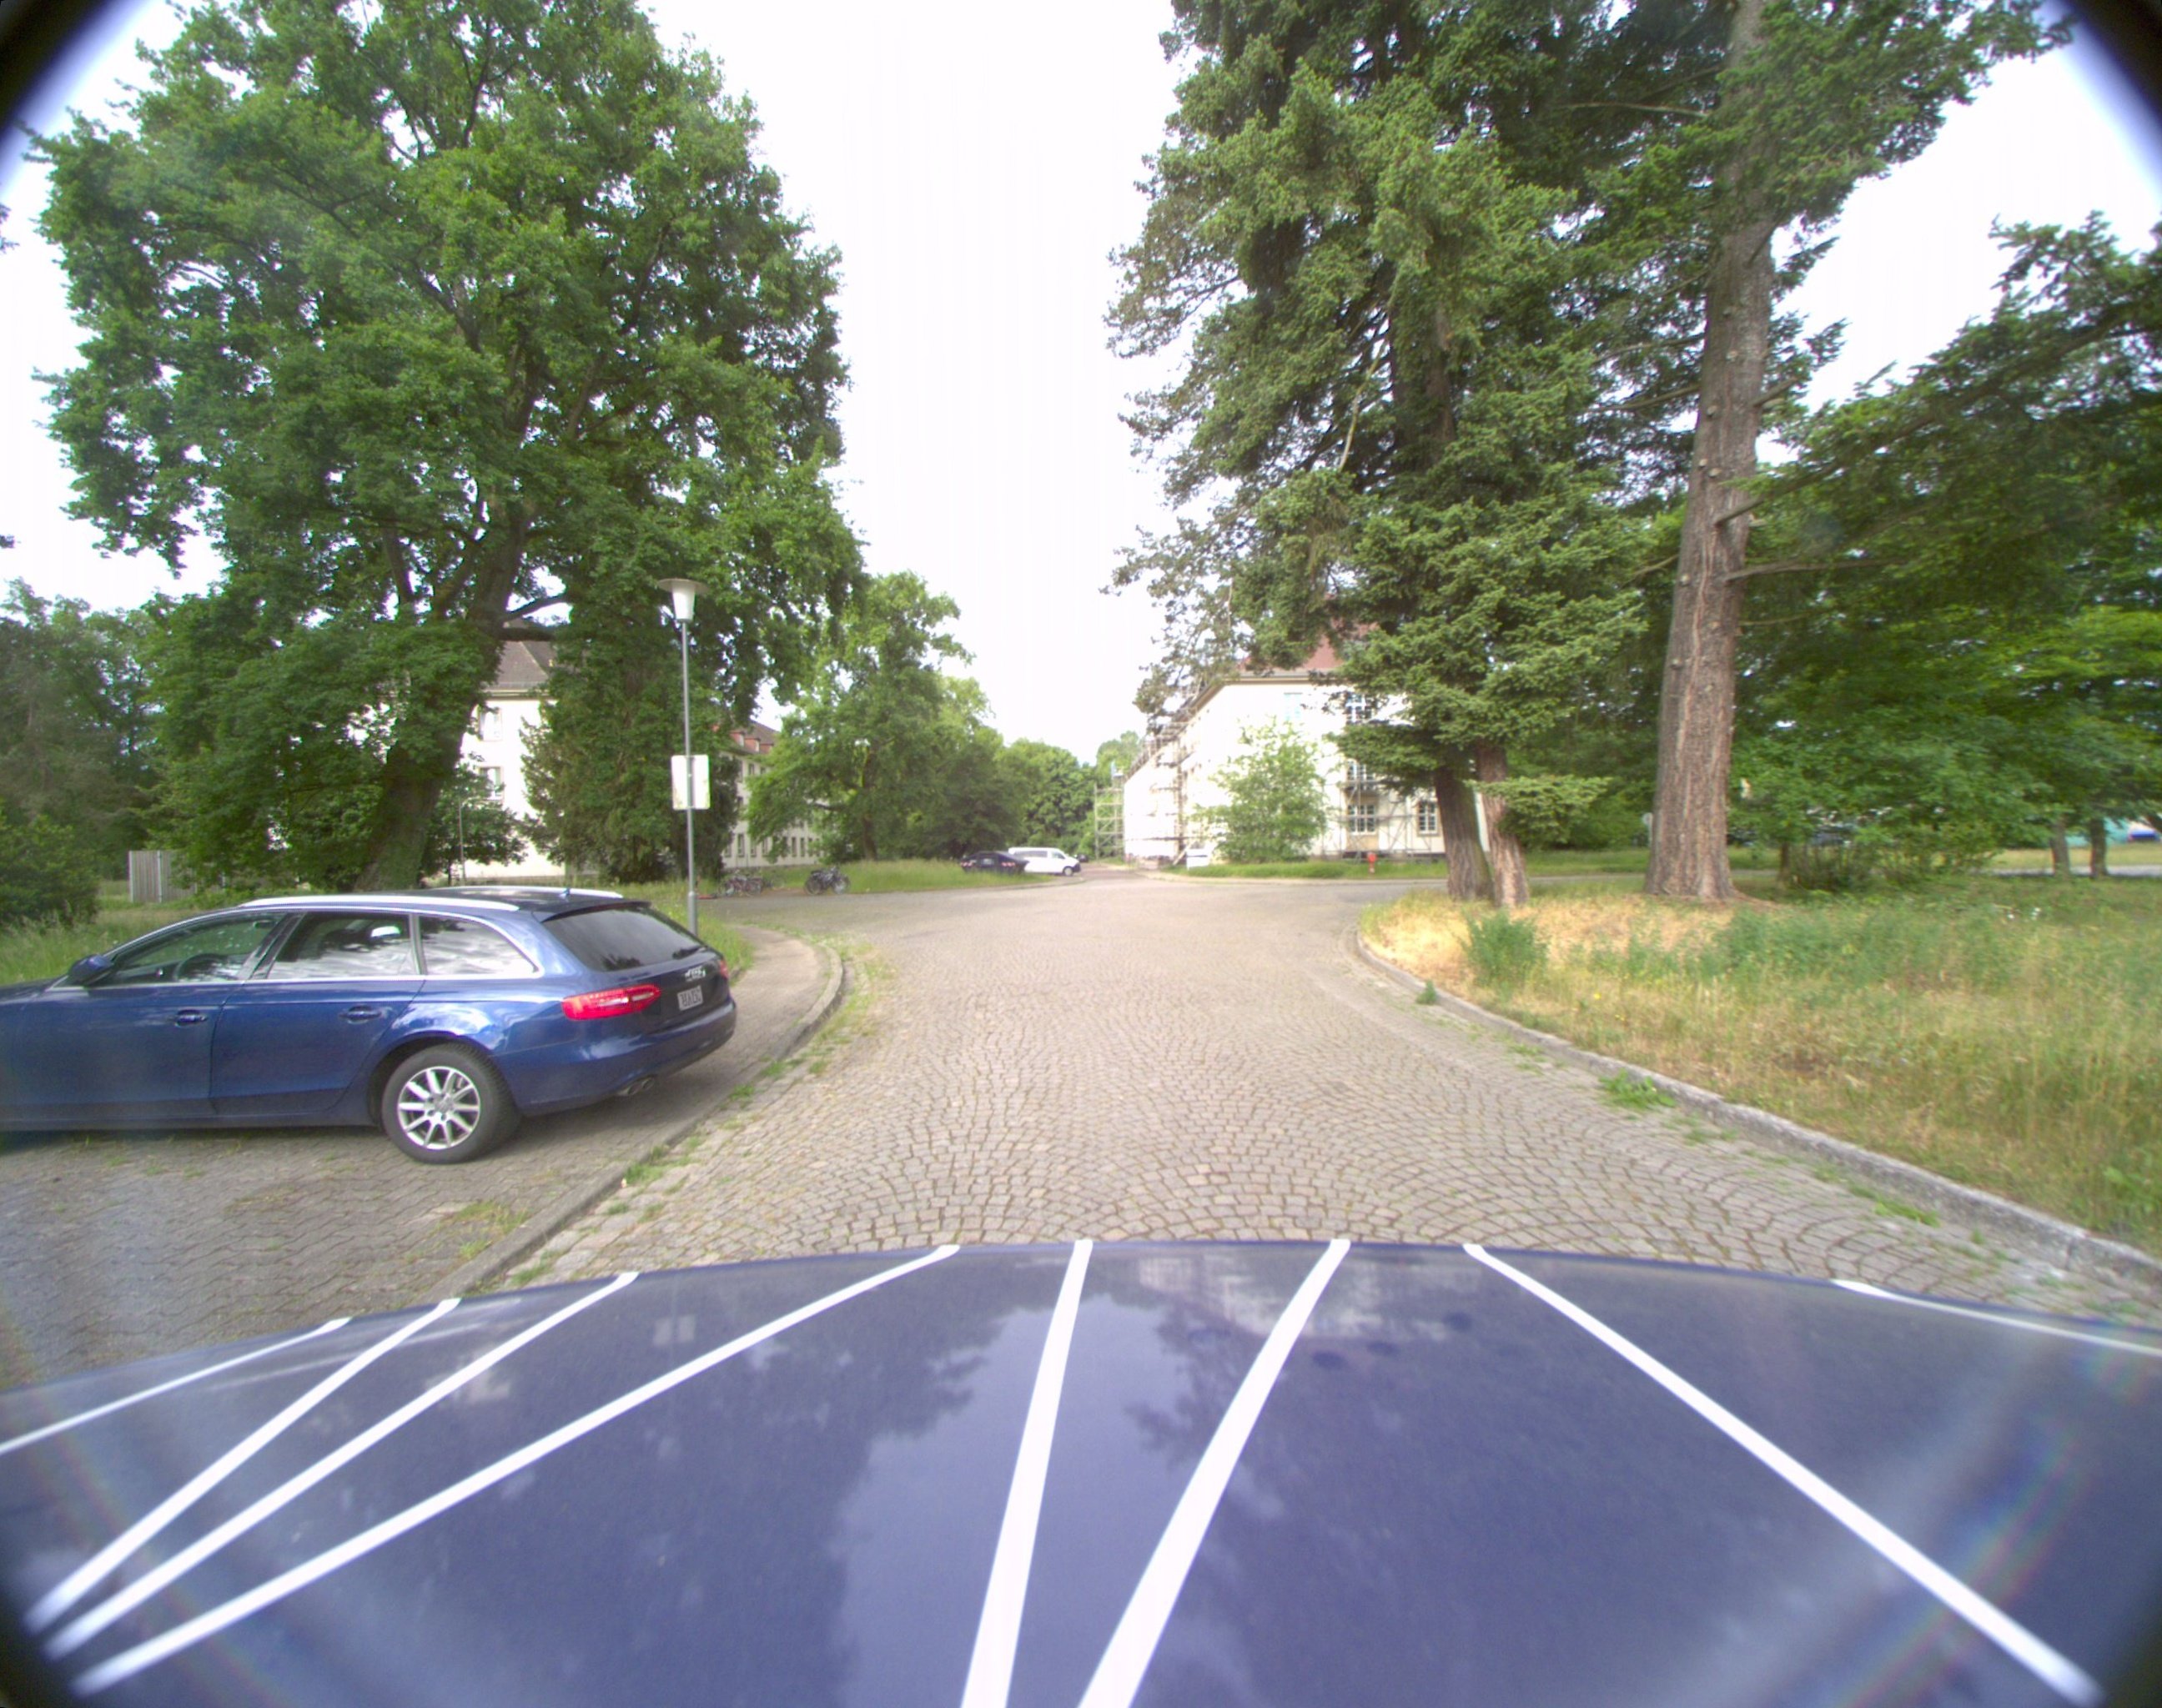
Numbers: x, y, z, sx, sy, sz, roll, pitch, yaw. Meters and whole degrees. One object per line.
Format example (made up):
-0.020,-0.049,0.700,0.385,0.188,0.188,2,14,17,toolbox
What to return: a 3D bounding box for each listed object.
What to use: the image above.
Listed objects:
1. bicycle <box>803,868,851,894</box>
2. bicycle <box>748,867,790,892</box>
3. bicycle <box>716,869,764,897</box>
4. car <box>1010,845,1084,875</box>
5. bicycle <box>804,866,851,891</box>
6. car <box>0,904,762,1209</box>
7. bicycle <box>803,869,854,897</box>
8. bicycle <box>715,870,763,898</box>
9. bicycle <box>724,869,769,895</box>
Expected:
-11.565,1.212,34.624,1.976,1.070,0.587,-3,1,-30,bicycle
-15.443,1.245,37.593,1.860,1.116,0.620,-3,1,-25,bicycle
-15.125,1.288,33.726,1.860,1.116,0.620,-3,1,-25,bicycle
-2.430,0.413,53.732,5.102,2.007,2.054,0,1,-4,car
-12.231,1.166,36.701,2.032,1.070,0.620,-3,1,-25,bicycle
-4.624,1.098,4.761,4.481,1.413,1.784,0,1,1,car
-10.982,1.242,33.068,1.976,1.070,0.587,-3,1,-30,bicycle
-14.899,1.286,33.125,1.860,1.116,0.620,-3,1,-25,bicycle
-15.554,1.286,35.368,1.860,1.116,0.620,-3,1,-25,bicycle
